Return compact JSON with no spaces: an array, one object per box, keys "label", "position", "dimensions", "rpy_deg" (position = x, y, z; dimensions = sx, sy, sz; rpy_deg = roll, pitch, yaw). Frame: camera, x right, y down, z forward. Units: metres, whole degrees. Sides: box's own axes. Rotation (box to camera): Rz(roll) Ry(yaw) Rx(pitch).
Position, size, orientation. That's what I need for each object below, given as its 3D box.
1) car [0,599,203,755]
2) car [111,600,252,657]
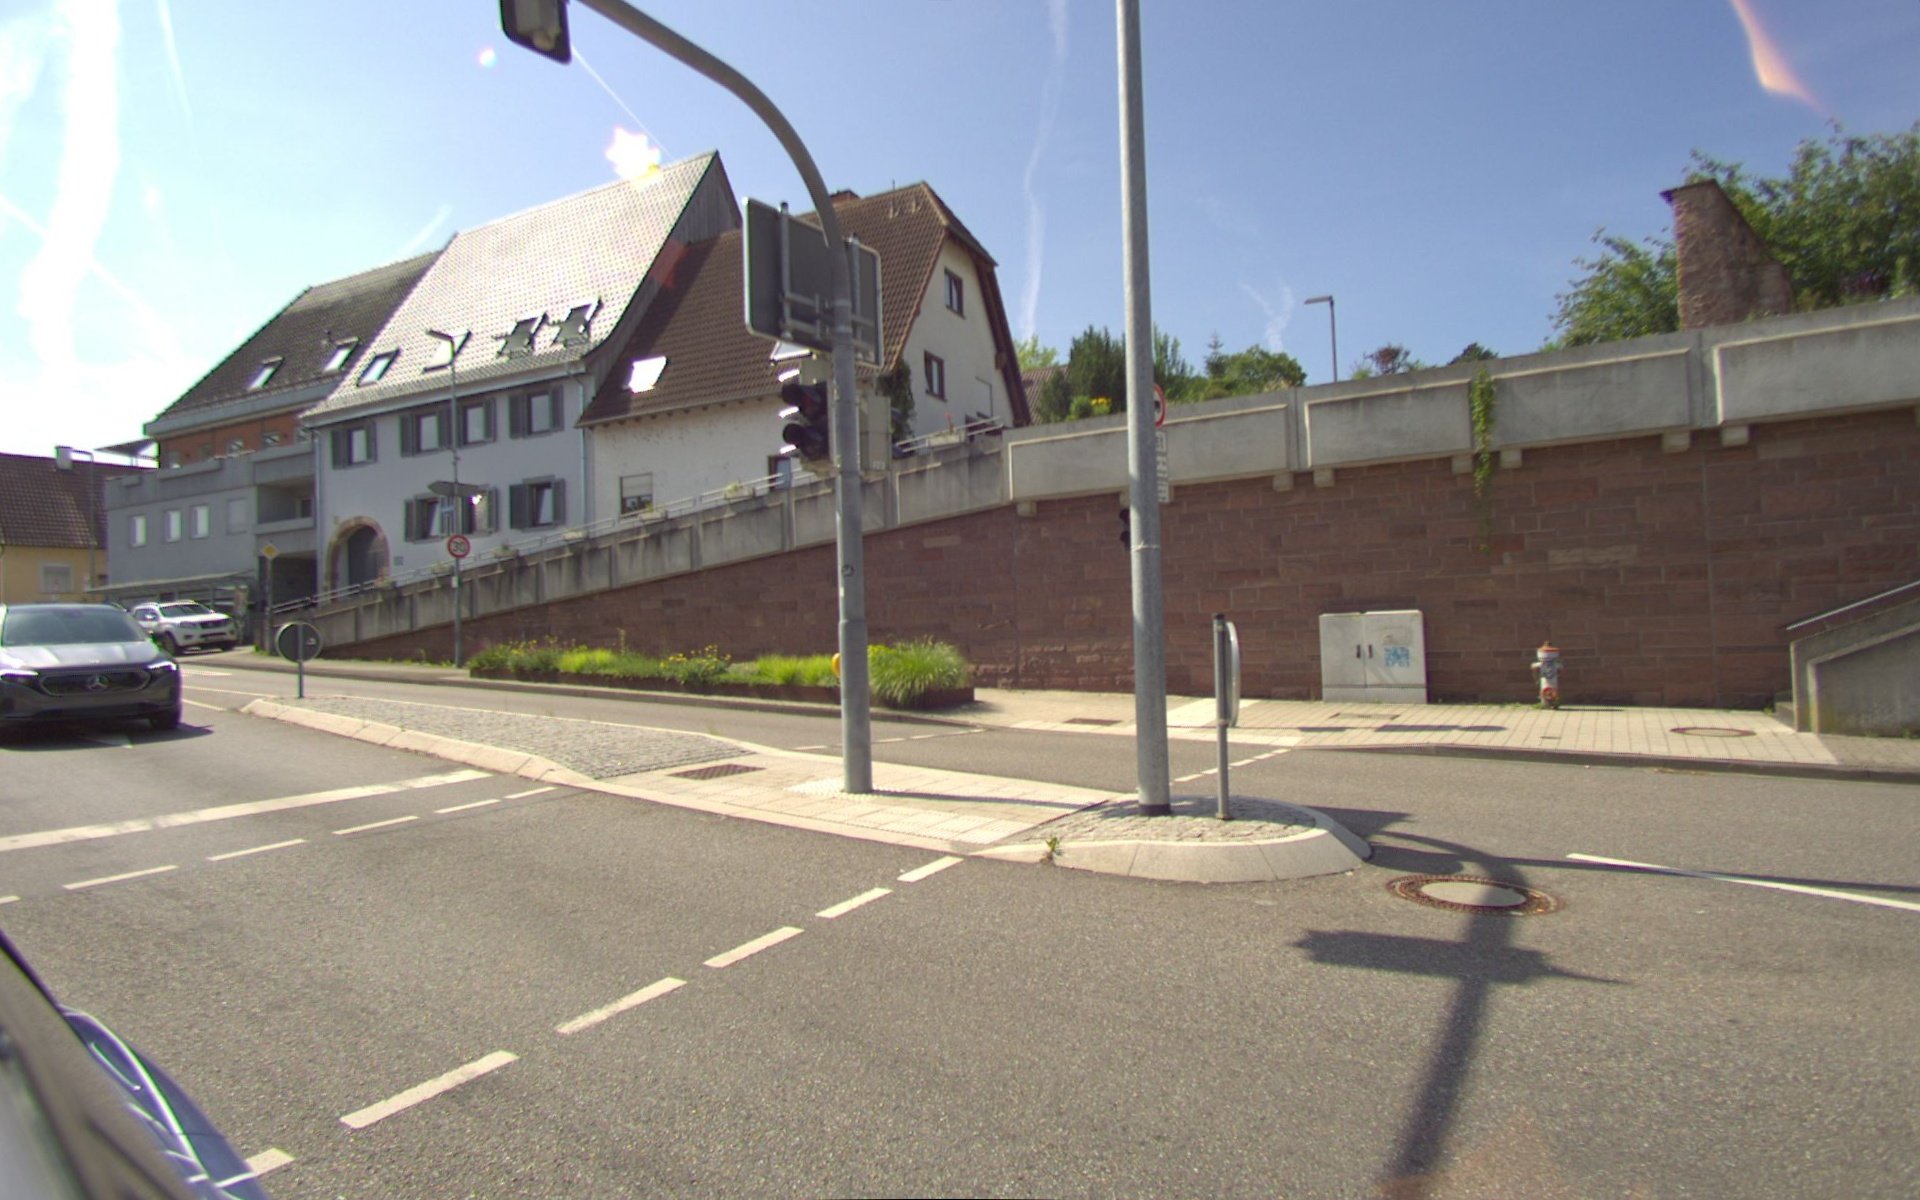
[{"label":"car","position":[-11.093,0.843,12.623],"dimensions":[4.287,1.585,1.716],"rpy_deg":[-1,0,40]},{"label":"car","position":[-26.433,0.978,34.316],"dimensions":[5.261,1.812,1.793],"rpy_deg":[-2,0,28]}]
